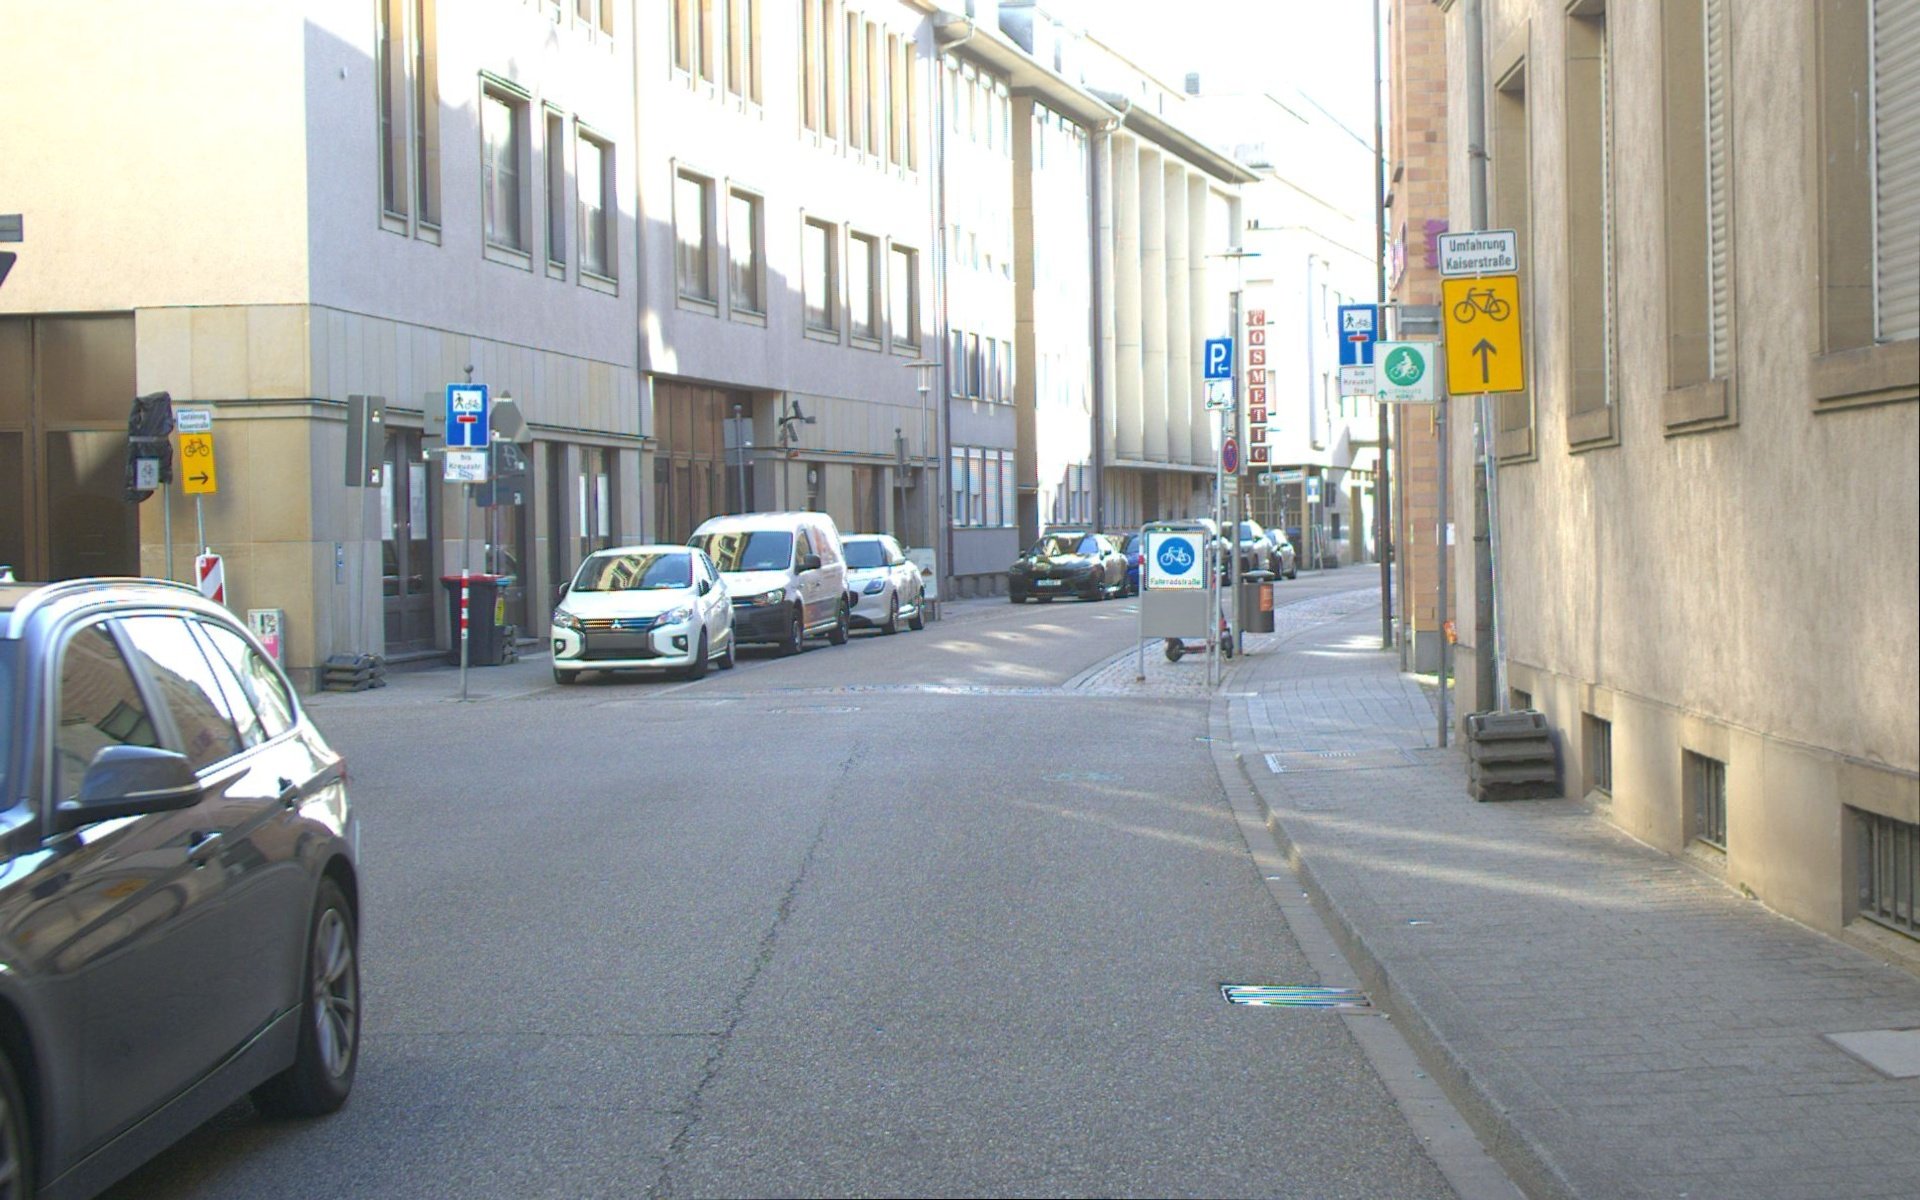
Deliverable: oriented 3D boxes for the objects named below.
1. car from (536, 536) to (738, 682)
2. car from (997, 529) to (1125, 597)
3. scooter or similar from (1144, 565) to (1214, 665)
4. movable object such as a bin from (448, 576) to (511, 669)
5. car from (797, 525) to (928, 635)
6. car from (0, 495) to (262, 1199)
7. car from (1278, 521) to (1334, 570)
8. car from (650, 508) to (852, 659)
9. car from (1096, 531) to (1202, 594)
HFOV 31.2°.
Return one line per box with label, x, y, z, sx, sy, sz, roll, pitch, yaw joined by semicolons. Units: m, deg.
car;-3.597;0.066;38.849;1.670;1.501;3.793;-2;1;3
car;2.114;-0.782;70.957;1.882;1.327;4.098;-1;1;13
scooter or similar;2.540;0.167;39.851;0.771;1.132;0.269;2;1;5
movable object such as a bin;-5.598;0.260;40.112;0.608;1.057;0.713;2;1;0
car;-1.414;-0.319;50.795;1.271;1.501;3.400;-2;1;9
car;-2.556;0.597;7.504;1.714;1.572;4.191;-1;1;-8
car;10.858;-1.718;107.641;1.339;1.489;3.345;-1;1;13
car;-2.652;-0.258;44.667;1.671;1.812;4.550;-2;1;8
car;4.279;-0.866;77.340;1.725;1.336;3.998;-1;1;13
